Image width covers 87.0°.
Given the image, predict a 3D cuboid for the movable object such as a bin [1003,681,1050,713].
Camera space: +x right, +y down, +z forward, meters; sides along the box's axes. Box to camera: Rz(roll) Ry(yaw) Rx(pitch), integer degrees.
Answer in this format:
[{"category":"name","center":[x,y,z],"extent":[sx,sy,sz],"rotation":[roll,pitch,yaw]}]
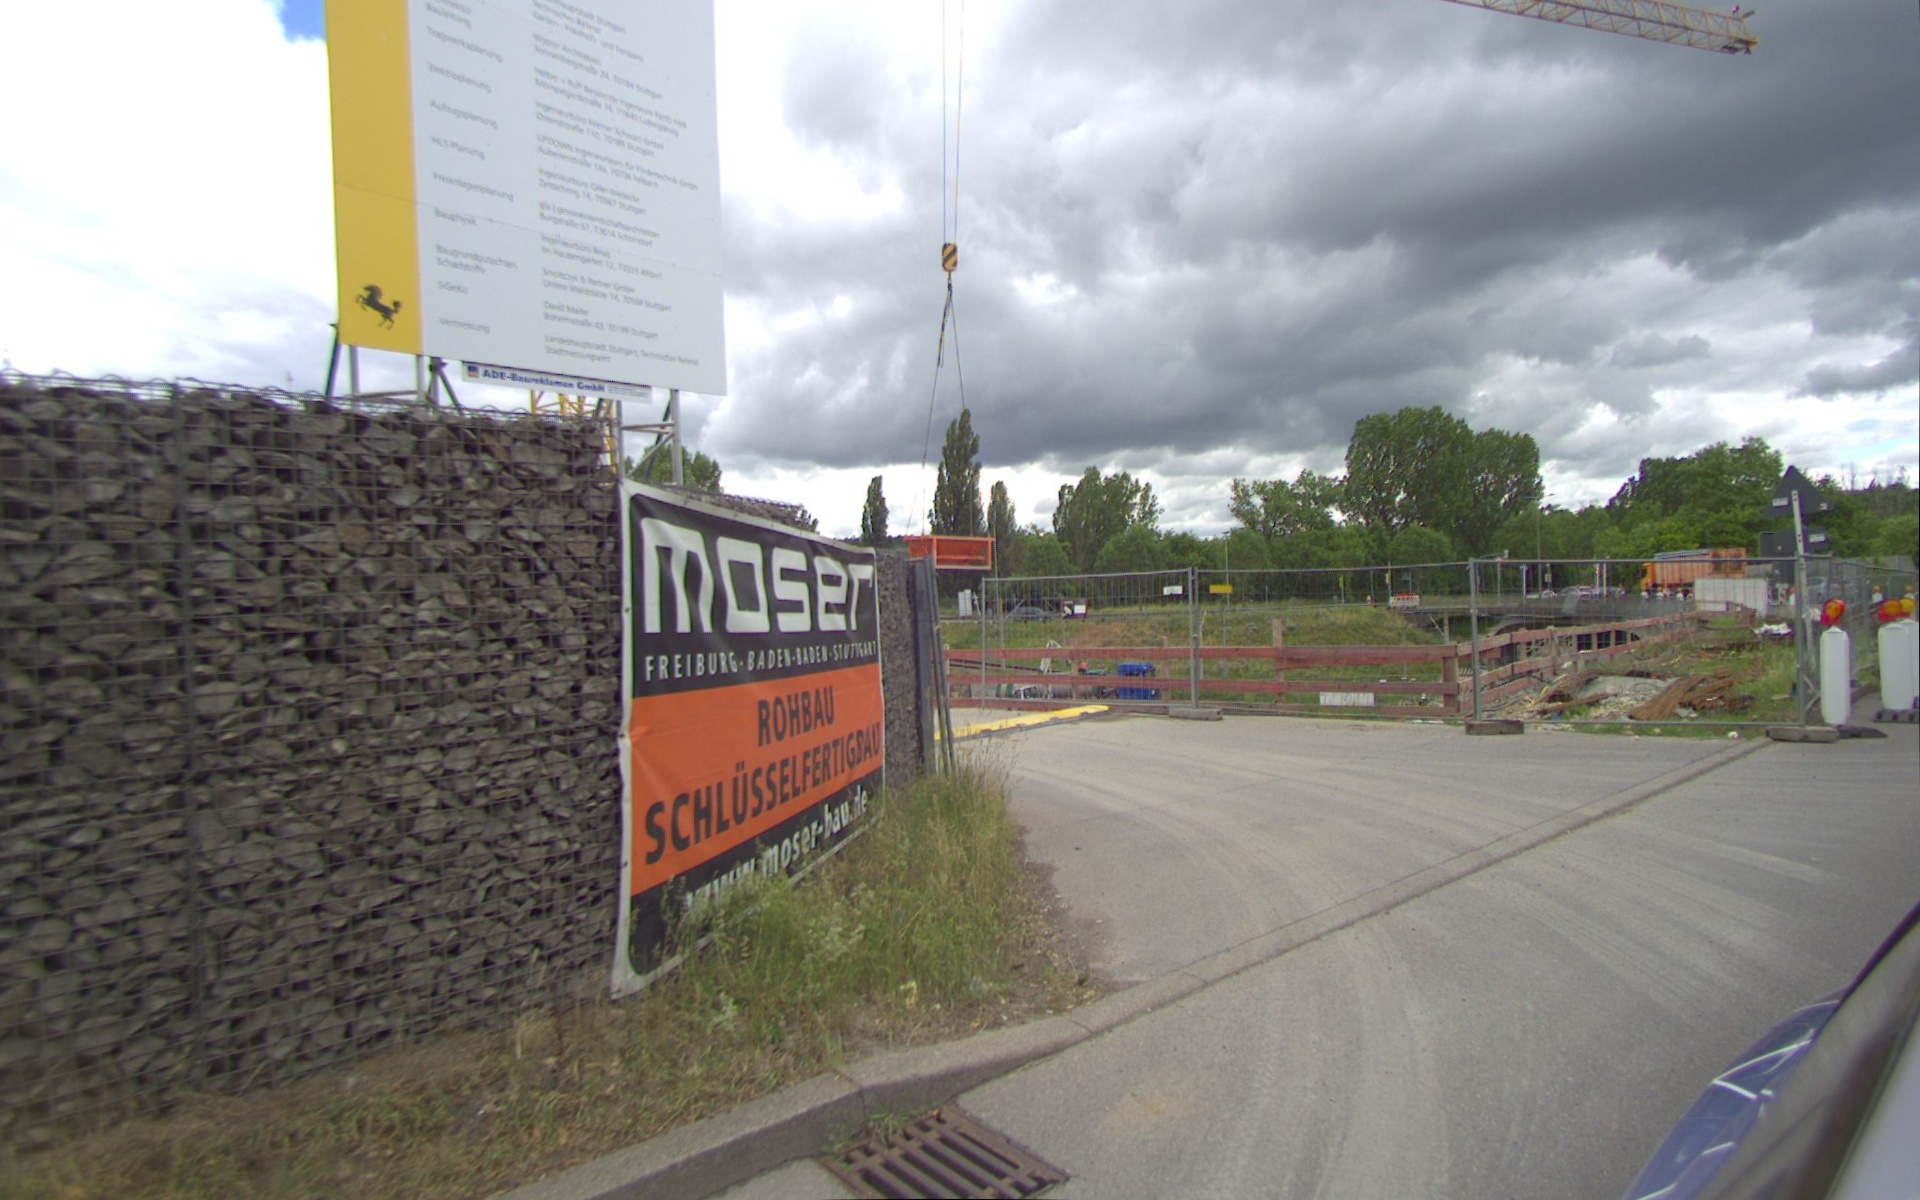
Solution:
[{"category":"movable object such as a bin","center":[4.473,6.482,67.746],"extent":[2.403,1.852,1.996],"rotation":[-2,-1,-42]}]

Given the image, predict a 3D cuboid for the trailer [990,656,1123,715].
[{"category":"trailer","center":[6.827,6.111,72.092],"extent":[9.051,3.810,2.397],"rotation":[-4,-1,27]}]

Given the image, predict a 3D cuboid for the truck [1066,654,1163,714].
[{"category":"truck","center":[10.687,5.845,70.084],"extent":[6.071,3.810,2.397],"rotation":[-4,-1,27]}]

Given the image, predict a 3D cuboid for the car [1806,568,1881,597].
[{"category":"car","center":[52.502,-1.040,60.219],"extent":[1.870,1.583,4.075],"rotation":[-3,0,19]}]

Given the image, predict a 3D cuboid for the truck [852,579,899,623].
[{"category":"truck","center":[-10.758,0.049,128.252],"extent":[2.883,3.141,8.209],"rotation":[-2,18,-27]}]

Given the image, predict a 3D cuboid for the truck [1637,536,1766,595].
[{"category":"truck","center":[55.068,-2.449,75.594],"extent":[2.989,3.947,9.985],"rotation":[-3,0,6]}]
